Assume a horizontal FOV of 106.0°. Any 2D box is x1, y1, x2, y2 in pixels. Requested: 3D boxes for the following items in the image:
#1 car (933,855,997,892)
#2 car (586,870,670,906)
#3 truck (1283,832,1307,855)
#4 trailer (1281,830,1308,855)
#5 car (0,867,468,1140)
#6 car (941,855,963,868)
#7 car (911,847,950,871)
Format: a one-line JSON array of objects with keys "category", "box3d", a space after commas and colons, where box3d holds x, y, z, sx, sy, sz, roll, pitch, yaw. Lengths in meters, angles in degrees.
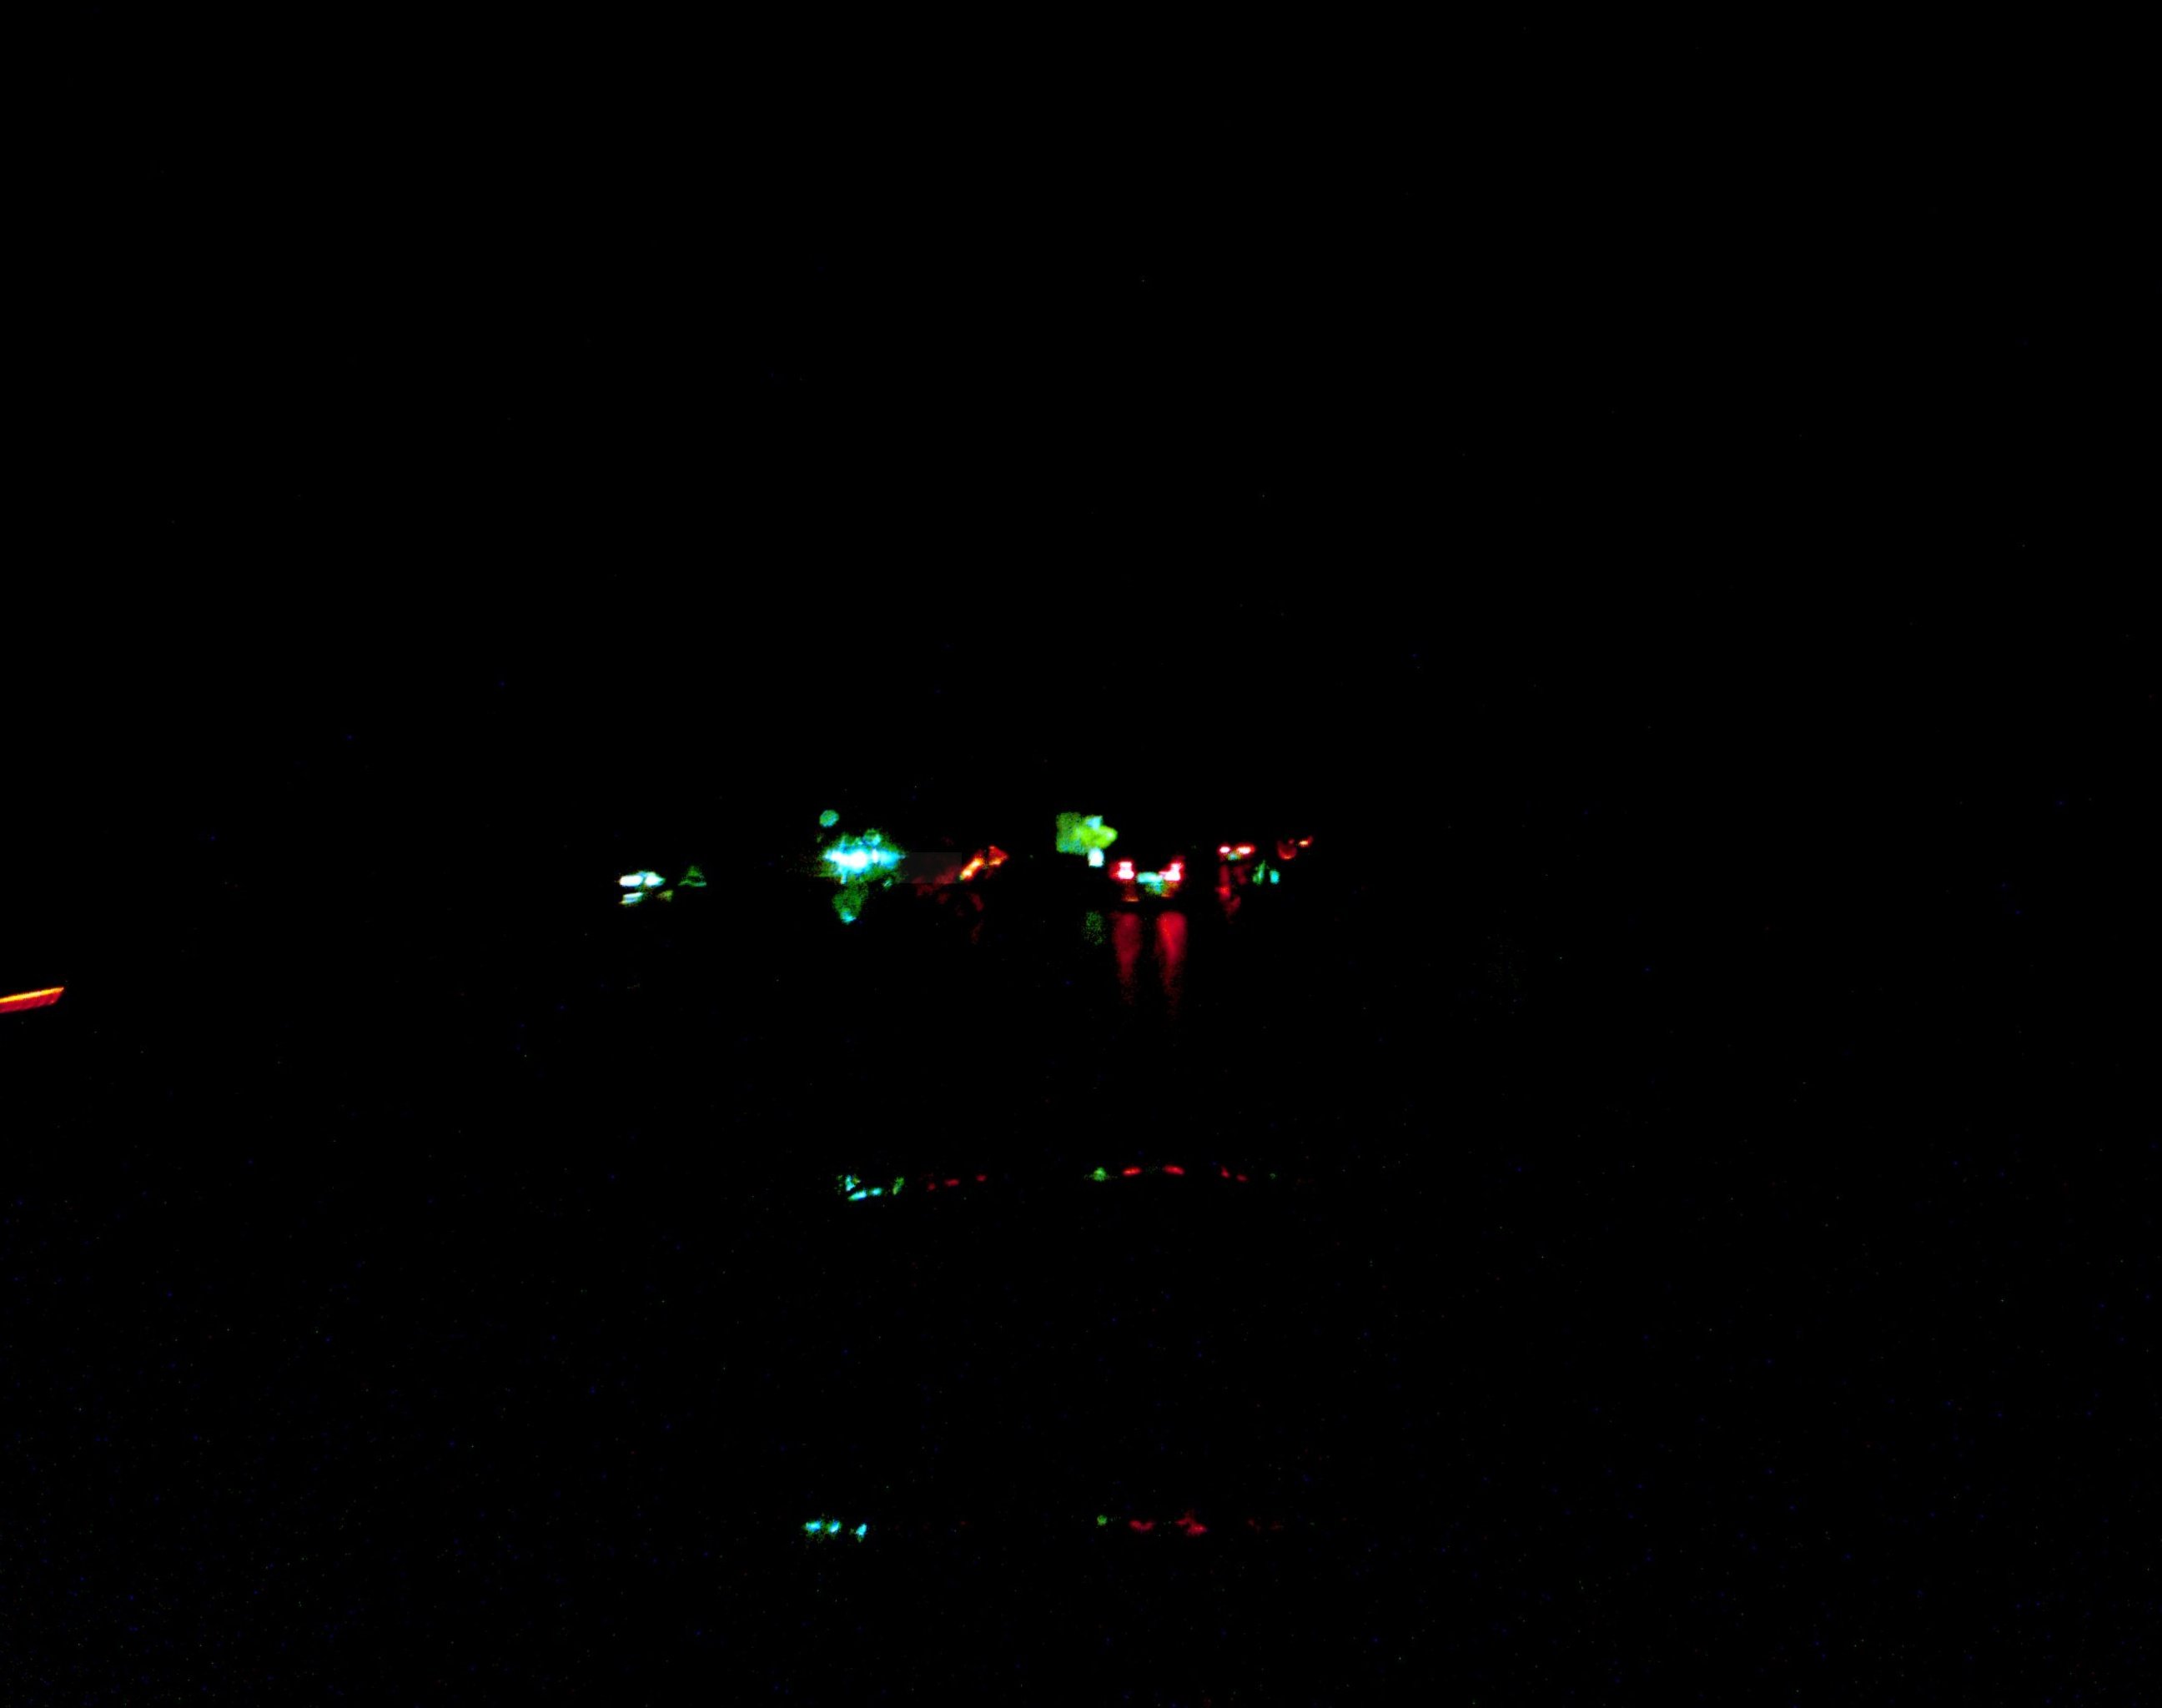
[{"category": "car", "box3d": [-4.771, 0.782, 34.151, 1.955, 1.380, 4.050, -1, 0, 2]}, {"category": "car", "box3d": [-20.856, 1.518, 37.670, 1.780, 1.474, 3.889, -2, 0, -2]}, {"category": "truck", "box3d": [20.406, -0.949, 77.545, 2.054, 2.014, 4.901, -2, -1, 16]}, {"category": "trailer", "box3d": [18.978, -0.946, 72.047, 2.062, 2.013, 10.692, -2, 0, 16]}, {"category": "car", "box3d": [-7.446, 0.990, 6.818, 1.645, 1.575, 3.848, -4, 0, -1]}, {"category": "car", "box3d": [-16.600, 0.969, 104.913, 1.883, 1.550, 4.006, -2, 0, 5]}, {"category": "car", "box3d": [-10.217, 0.300, 55.658, 1.762, 1.517, 4.912, -2, 0, -1]}]
